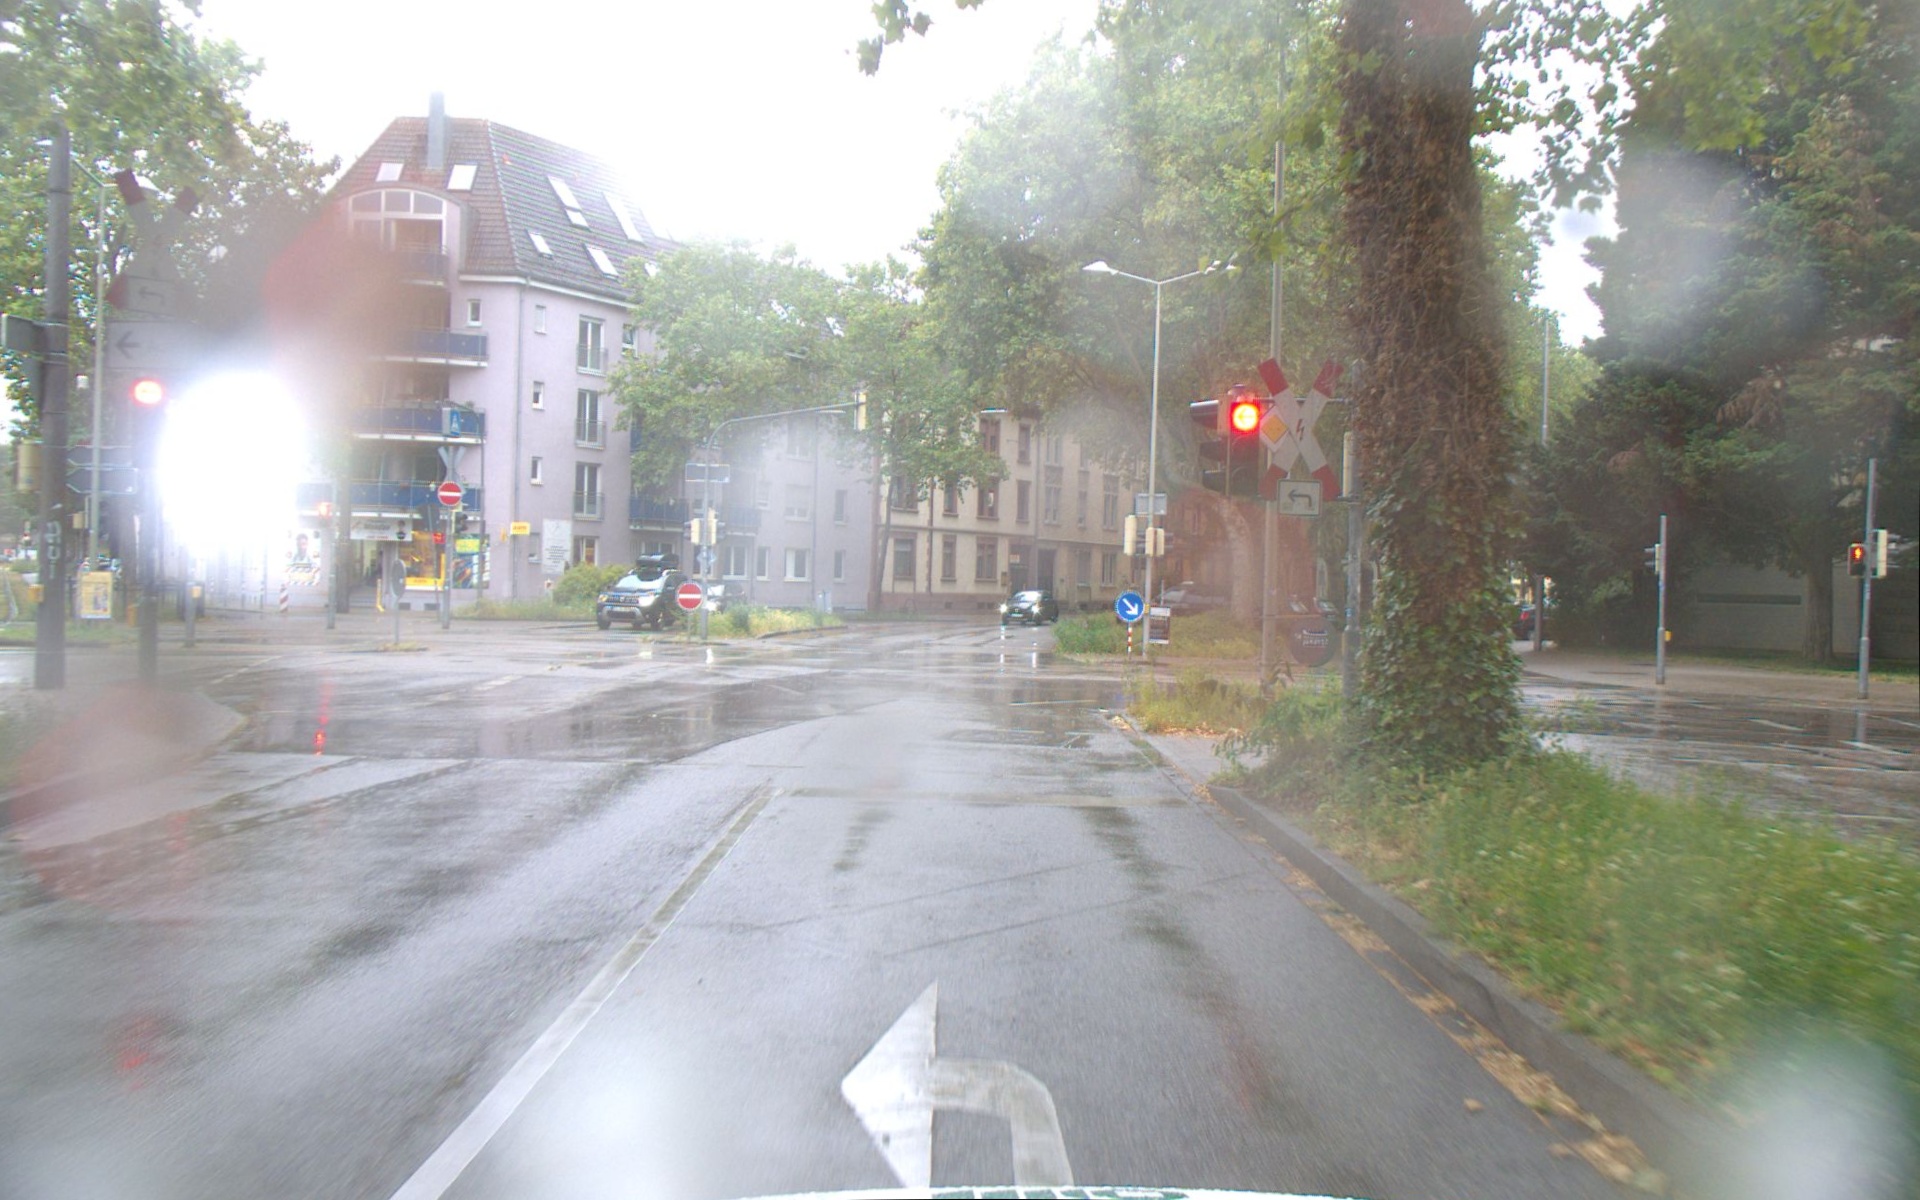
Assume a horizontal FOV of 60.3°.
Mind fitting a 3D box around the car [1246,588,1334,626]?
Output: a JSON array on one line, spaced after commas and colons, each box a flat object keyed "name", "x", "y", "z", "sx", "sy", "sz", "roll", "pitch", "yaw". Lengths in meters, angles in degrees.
[{"name": "car", "x": 14.630, "y": 0.285, "z": 73.369, "sx": 3.537, "sy": 1.646, "sz": 1.679, "roll": 0, "pitch": 1, "yaw": 29}]

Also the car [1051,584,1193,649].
[{"name": "car", "x": 4.008, "y": 0.381, "z": 40.701, "sx": 3.405, "sy": 1.550, "sz": 1.521, "roll": 0, "pitch": 1, "yaw": 9}]

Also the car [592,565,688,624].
[{"name": "car", "x": -8.951, "y": -0.181, "z": 46.478, "sx": 1.688, "sy": 1.579, "sz": 3.562, "roll": 0, "pitch": 1, "yaw": 6}]

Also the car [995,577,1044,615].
[{"name": "car", "x": 2.592, "y": -0.189, "z": 71.217, "sx": 1.568, "sy": 1.579, "sz": 3.563, "roll": 0, "pitch": 1, "yaw": 11}]

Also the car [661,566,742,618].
[{"name": "car", "x": -8.150, "y": -0.271, "z": 52.422, "sx": 1.688, "sy": 1.579, "sz": 3.562, "roll": 0, "pitch": 1, "yaw": 6}]

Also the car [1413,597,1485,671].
[{"name": "car", "x": 14.464, "y": 0.968, "z": 49.028, "sx": 1.951, "sy": 2.049, "sz": 4.003, "roll": 0, "pitch": 1, "yaw": 16}]

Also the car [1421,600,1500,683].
[{"name": "car", "x": 13.314, "y": 1.043, "z": 44.138, "sx": 1.951, "sy": 2.049, "sz": 4.003, "roll": 0, "pitch": 1, "yaw": 16}]
